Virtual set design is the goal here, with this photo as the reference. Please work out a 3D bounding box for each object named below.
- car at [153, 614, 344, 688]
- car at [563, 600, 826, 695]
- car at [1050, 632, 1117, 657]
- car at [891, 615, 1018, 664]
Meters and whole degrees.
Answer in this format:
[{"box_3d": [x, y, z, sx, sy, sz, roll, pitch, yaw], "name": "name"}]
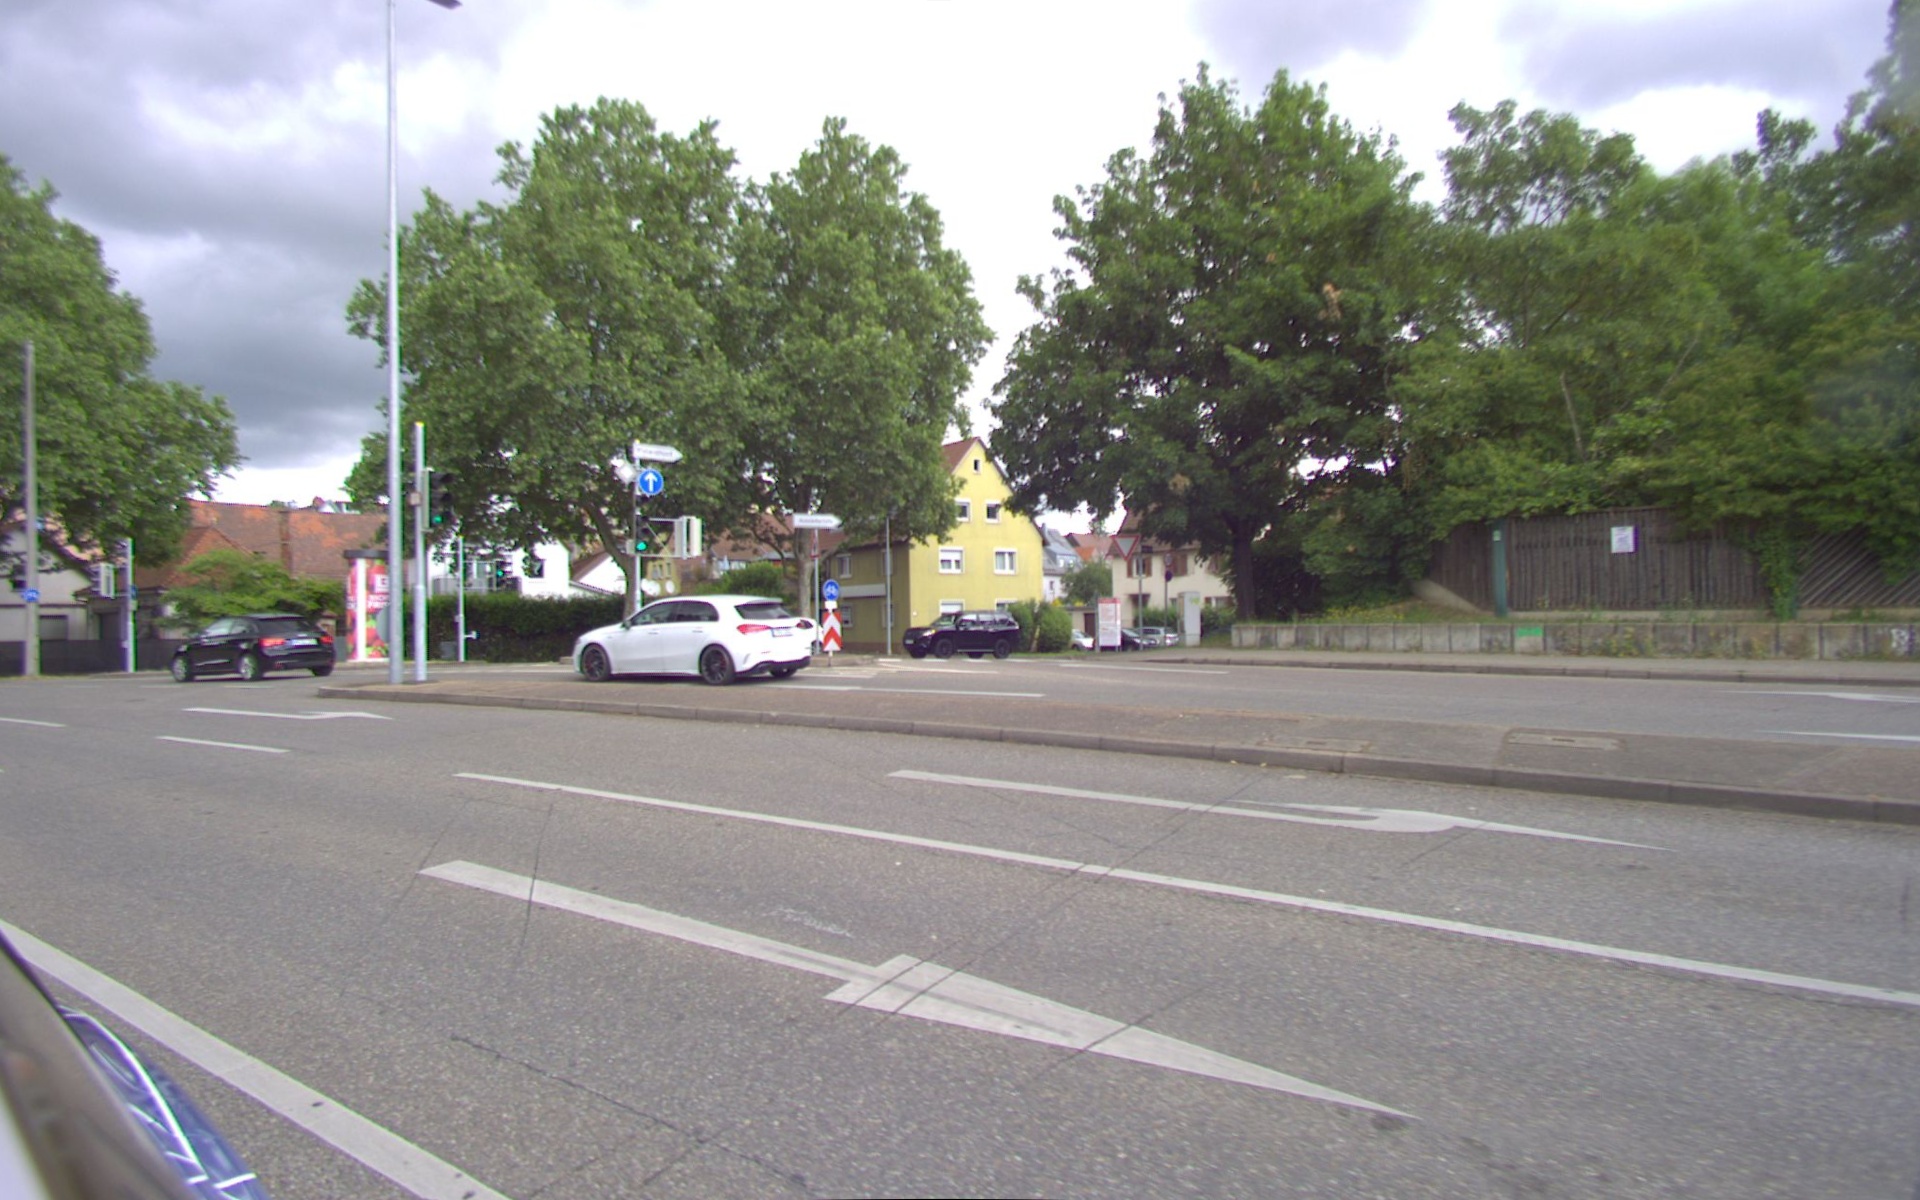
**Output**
[{"box_3d": [-15.500, 1.104, 22.037, 3.979, 1.459, 1.716, -2, -1, 27], "name": "car"}, {"box_3d": [-4.451, 0.780, 16.871, 4.100, 1.349, 1.795, -2, 1, 29], "name": "car"}, {"box_3d": [7.089, 2.554, 58.438, 1.702, 1.352, 3.816, -1, -1, -34], "name": "car"}, {"box_3d": [-0.172, 1.460, 38.111, 4.515, 1.665, 1.817, -1, -2, -34], "name": "car"}]
